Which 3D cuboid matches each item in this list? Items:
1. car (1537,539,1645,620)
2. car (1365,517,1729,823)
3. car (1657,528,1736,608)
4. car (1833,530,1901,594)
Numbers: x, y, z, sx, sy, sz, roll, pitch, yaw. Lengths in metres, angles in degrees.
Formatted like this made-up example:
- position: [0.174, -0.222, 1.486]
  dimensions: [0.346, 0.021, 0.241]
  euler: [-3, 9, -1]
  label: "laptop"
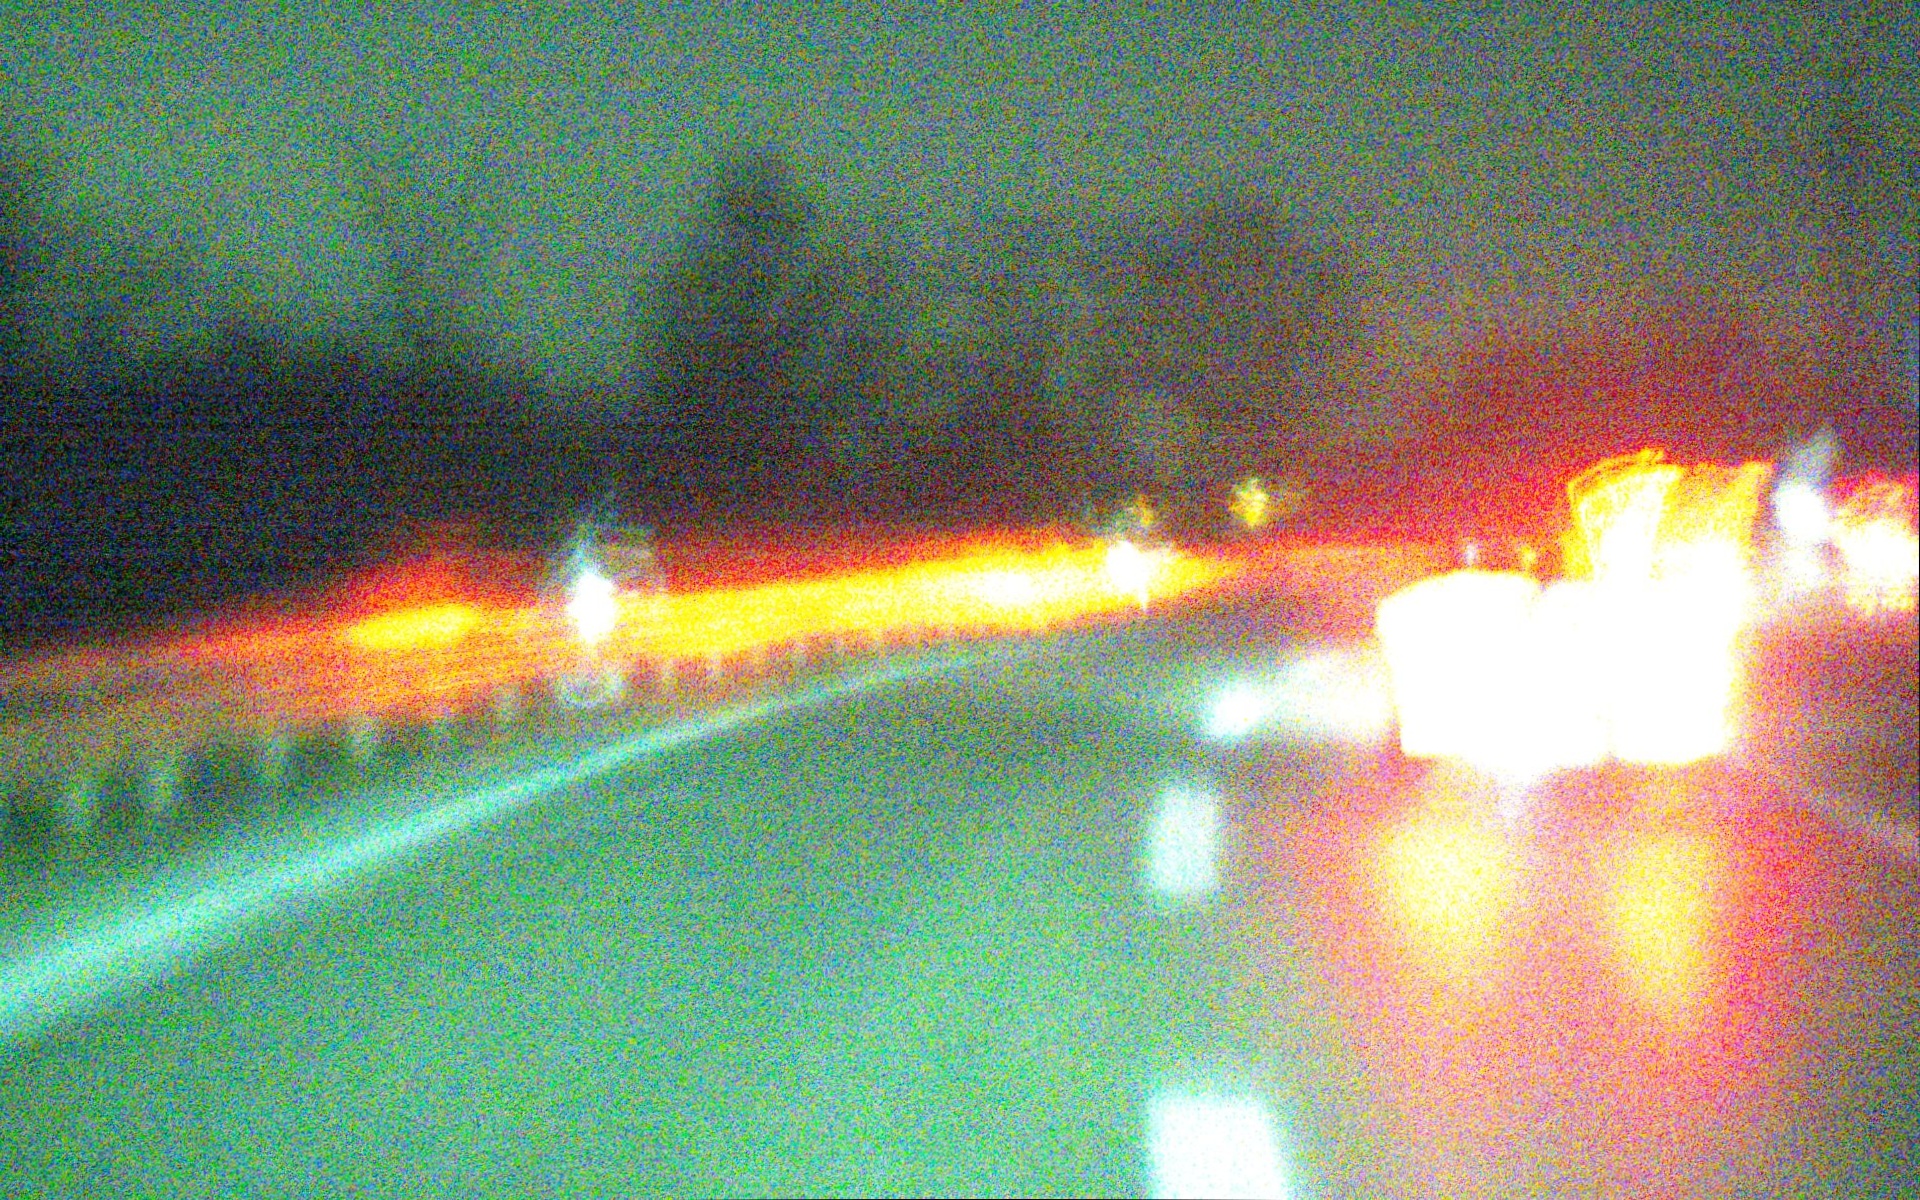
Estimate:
- position: [13.868, -0.457, 75.432]
  dimensions: [1.897, 1.714, 4.042]
  euler: [1, 1, 16]
  label: "car"
- position: [3.476, 0.345, 21.011]
  dimensions: [1.861, 1.641, 4.068]
  euler: [2, 1, 6]
  label: "car"
- position: [19.507, -0.854, 90.932]
  dimensions: [1.896, 2.033, 4.043]
  euler: [1, 1, 14]
  label: "car"
- position: [28.823, -1.213, 109.182]
  dimensions: [1.897, 1.991, 4.042]
  euler: [0, 1, 18]
  label: "car"
